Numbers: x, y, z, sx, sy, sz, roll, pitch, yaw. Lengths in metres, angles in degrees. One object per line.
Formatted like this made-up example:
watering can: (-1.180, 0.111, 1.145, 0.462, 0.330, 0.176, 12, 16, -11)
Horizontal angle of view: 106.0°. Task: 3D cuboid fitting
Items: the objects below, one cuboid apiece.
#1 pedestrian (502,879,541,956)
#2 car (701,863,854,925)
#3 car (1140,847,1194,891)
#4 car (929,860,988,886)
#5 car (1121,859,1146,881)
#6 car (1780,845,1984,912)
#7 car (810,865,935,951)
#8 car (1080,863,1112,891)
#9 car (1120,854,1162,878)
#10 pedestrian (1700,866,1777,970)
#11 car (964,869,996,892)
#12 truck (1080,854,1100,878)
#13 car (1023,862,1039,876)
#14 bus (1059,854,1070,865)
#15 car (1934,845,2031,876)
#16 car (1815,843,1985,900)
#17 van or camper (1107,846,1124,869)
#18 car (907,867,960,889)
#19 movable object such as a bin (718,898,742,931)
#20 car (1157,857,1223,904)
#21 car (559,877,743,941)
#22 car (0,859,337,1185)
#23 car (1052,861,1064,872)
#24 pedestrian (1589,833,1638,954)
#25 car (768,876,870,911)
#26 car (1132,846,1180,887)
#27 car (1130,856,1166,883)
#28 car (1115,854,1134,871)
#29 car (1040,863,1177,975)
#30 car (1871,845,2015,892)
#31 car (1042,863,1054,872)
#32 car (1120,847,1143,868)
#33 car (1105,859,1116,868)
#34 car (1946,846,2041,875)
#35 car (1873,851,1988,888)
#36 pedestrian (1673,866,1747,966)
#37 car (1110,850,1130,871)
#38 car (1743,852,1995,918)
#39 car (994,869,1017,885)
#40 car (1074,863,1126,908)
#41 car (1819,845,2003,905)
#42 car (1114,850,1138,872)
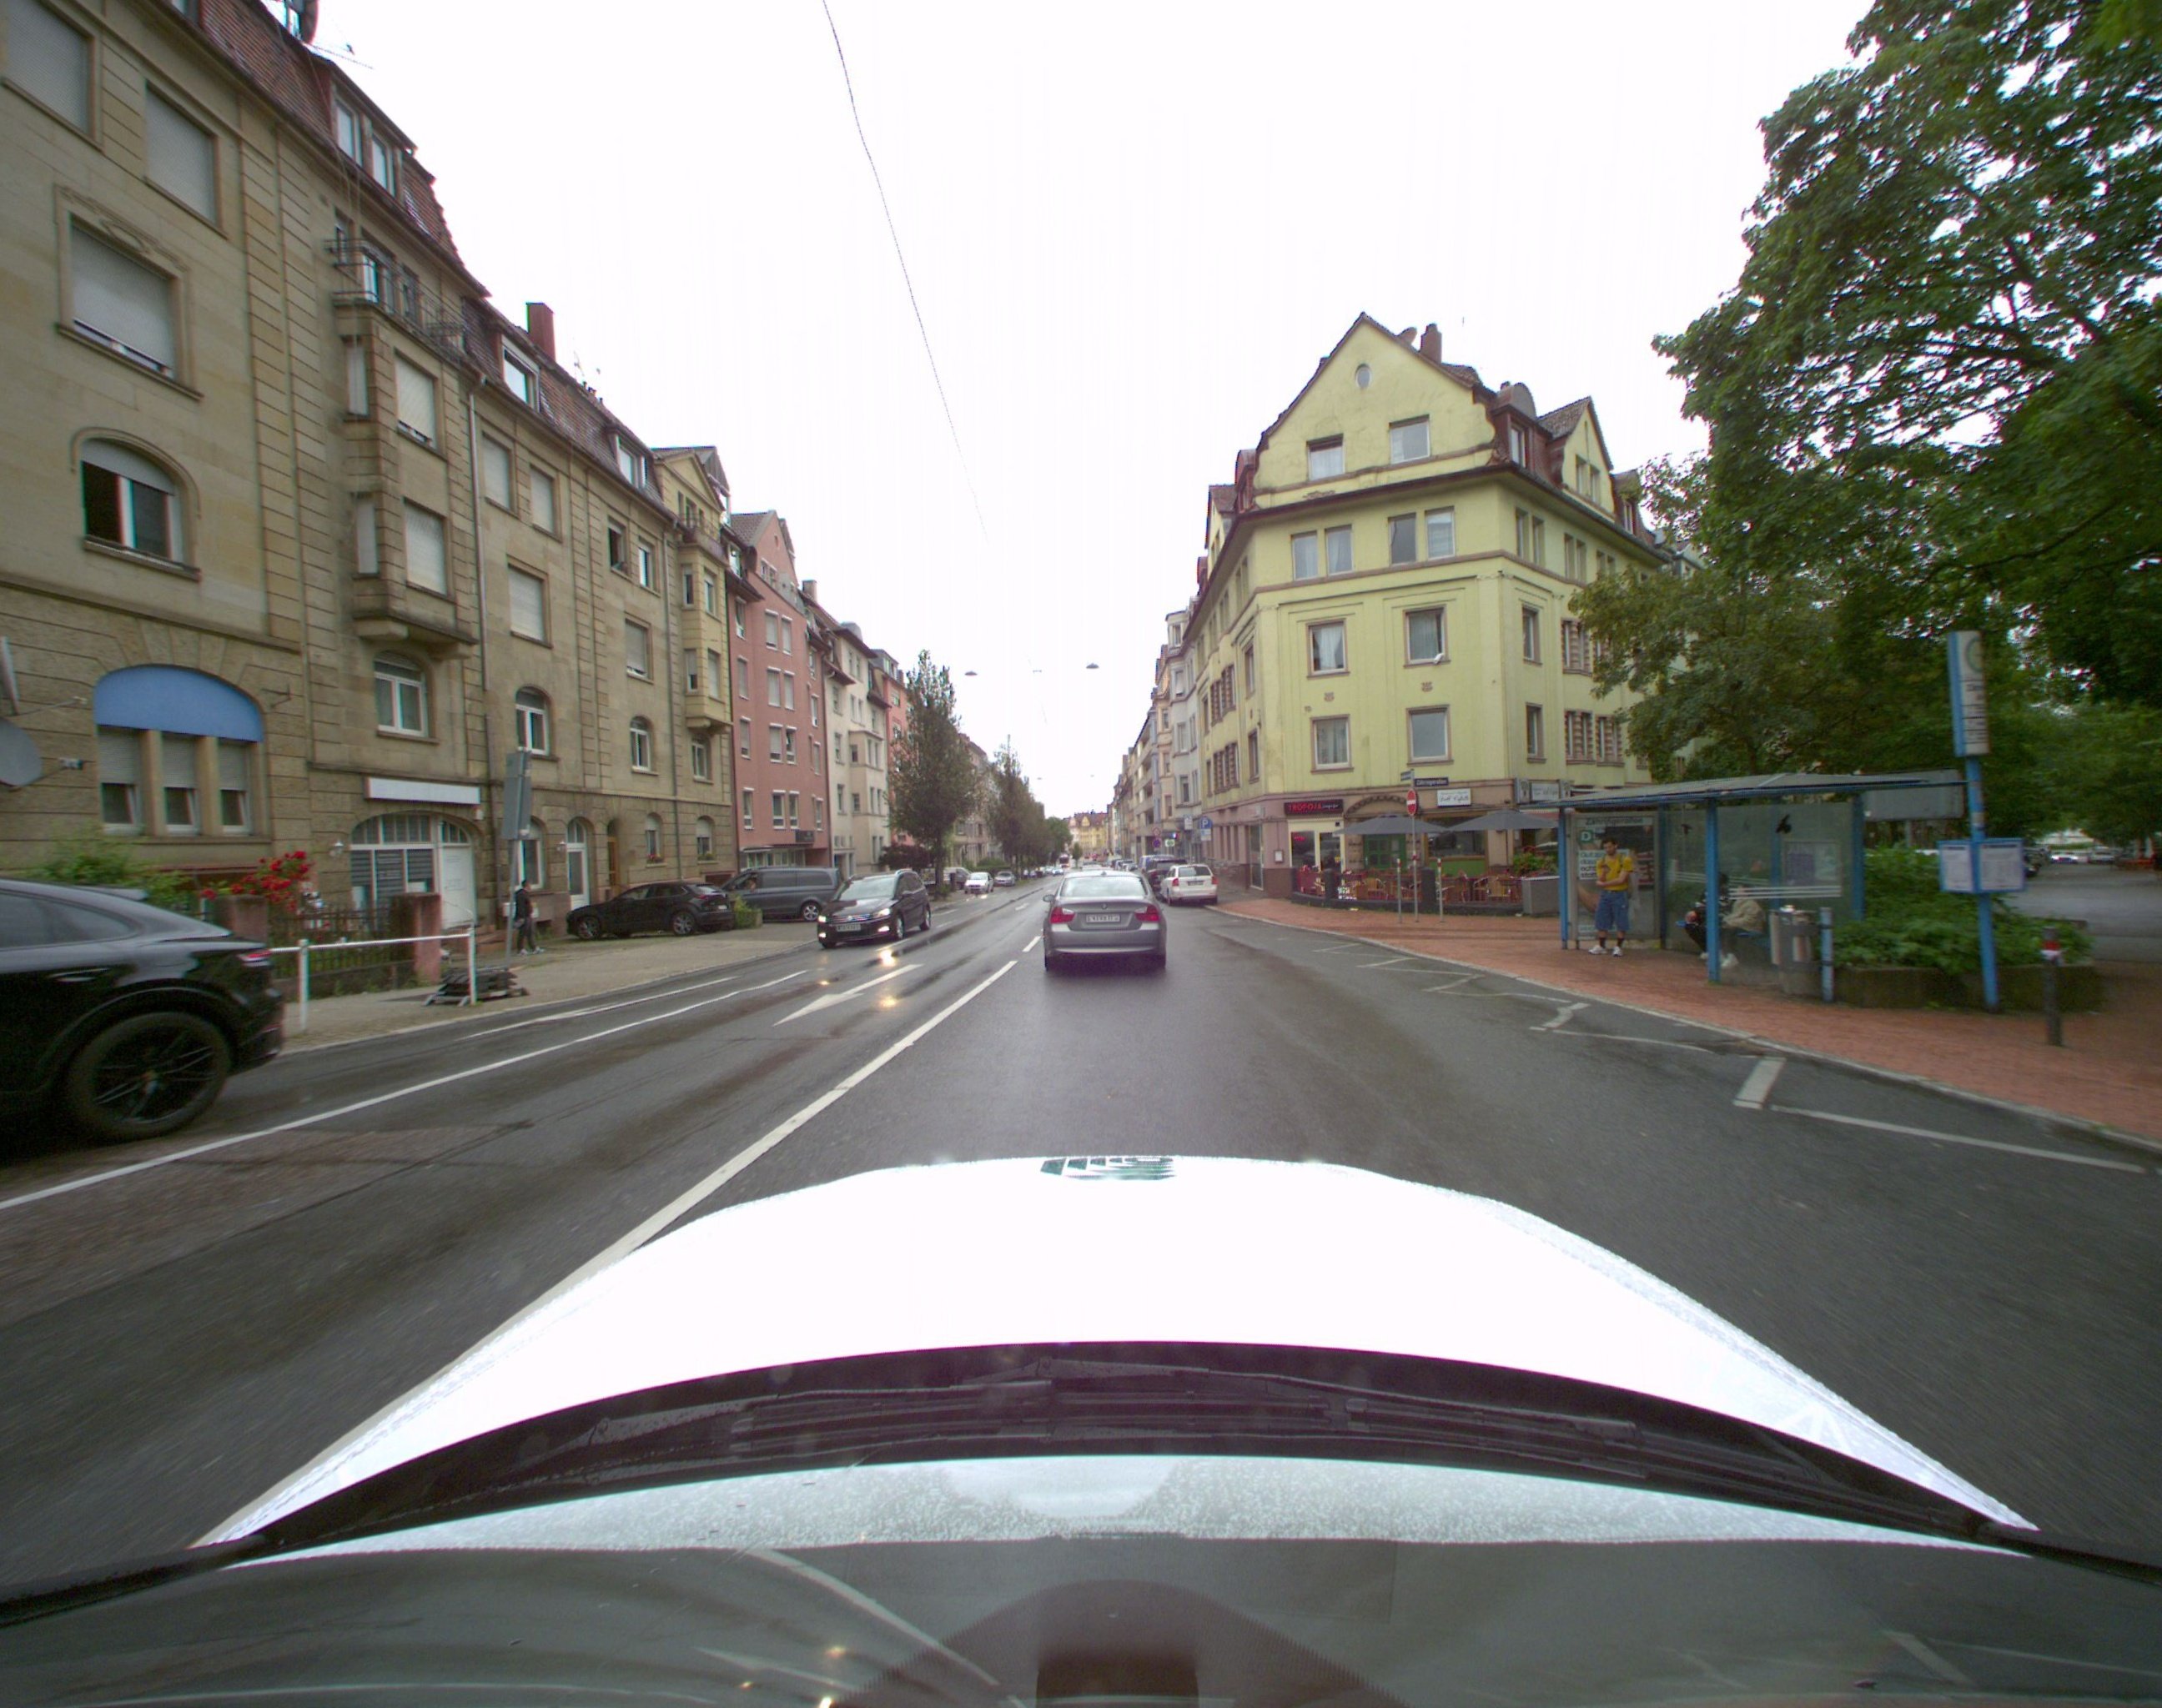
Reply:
pedestrian: (-13.236, 1.498, 19.262, 0.474, 1.777, 0.567, -1, 0, 9)
car: (-10.483, 1.343, 28.482, 4.674, 1.938, 1.857, -1, 0, -10)
car: (3.684, 0.623, 35.599, 1.872, 1.731, 4.677, -2, 0, 0)
car: (-10.955, 1.643, 72.842, 4.813, 1.974, 2.048, -4, 0, 0)
car: (3.842, 1.145, 59.847, 1.606, 1.474, 4.015, -2, 0, 0)
car: (22.651, 0.641, 23.149, 1.802, 1.727, 3.954, -1, 0, -39)
car: (-4.901, 1.195, 19.781, 1.615, 1.649, 4.421, -6, 0, 1)
car: (0.863, 1.278, 46.560, 1.691, 1.483, 3.794, -2, -1, 1)
car: (3.846, 0.779, 53.039, 1.872, 1.467, 4.765, -2, -1, -6)
pedestrian: (8.360, 0.800, 10.375, 0.565, 1.280, 0.536, -1, 0, 12)
car: (-7.215, 1.854, 58.352, 1.615, 1.445, 4.006, -3, 0, 1)
truck: (0.921, 1.257, 86.921, 2.025, 2.412, 4.826, -2, -1, 0)
car: (-6.572, 1.941, 106.518, 1.761, 1.593, 3.999, -5, 0, -1)
bus: (-4.696, 1.565, 235.859, 2.660, 3.024, 7.670, -4, 0, 1)
car: (54.588, 0.381, 49.358, 1.802, 1.748, 3.853, -1, 0, -39)
car: (28.033, 0.553, 27.970, 1.802, 1.789, 3.954, -1, 0, -39)
van or camper: (4.482, 0.406, 105.188, 2.024, 2.869, 6.893, 0, 0, 4)
car: (-11.663, 1.891, 64.595, 3.878, 1.457, 1.788, -4, 0, -7)
movable object such as a bin: (-10.777, 1.853, 24.994, 0.502, 0.950, 0.441, -1, 0, 5)
car: (3.958, 0.904, 30.237, 1.793, 1.565, 4.491, -1, 0, -1)
car: (-12.112, 1.534, 23.131, 4.133, 1.510, 1.873, -2, 0, 0)
car: (-6.731, 0.904, 3.638, 1.953, 1.693, 4.819, -2, -1, 9)
car: (-3.722, 1.983, 132.142, 1.630, 1.508, 3.754, -6, 0, 0)
pedestrian: (8.003, 0.580, 12.261, 0.553, 1.775, 0.549, -1, 0, 29)
car: (-13.324, 2.007, 41.660, 4.533, 1.401, 1.767, -4, 0, 0)
car: (3.777, 0.610, 41.606, 1.913, 1.827, 5.009, -4, 0, 0)
car: (3.770, 0.854, 46.332, 1.672, 1.375, 4.276, -2, 0, 0)
car: (4.481, 0.862, 84.965, 1.720, 1.670, 4.288, -4, 0, 0)
car: (0.331, 0.897, 12.609, 1.764, 1.428, 3.738, -1, -1, -1)
car: (34.493, 0.534, 32.666, 1.802, 1.748, 3.853, -1, 0, -39)
car: (-6.035, 2.488, 148.811, 1.684, 1.523, 3.738, -5, 0, 2)
car: (4.549, 0.342, 73.245, 1.720, 1.670, 4.288, -5, 0, 0)
car: (5.115, 1.730, 143.037, 1.692, 1.483, 3.974, -2, -1, 0)
car: (56.975, 0.398, 50.894, 1.802, 1.748, 3.853, -1, 0, -39)
car: (42.431, 0.740, 40.736, 1.802, 1.748, 3.853, -1, 0, -39)
pedestrian: (8.456, 0.817, 10.975, 0.565, 1.280, 0.621, -1, 0, 13)
car: (4.494, 0.748, 94.747, 1.975, 2.165, 4.750, -4, 0, 0)
car: (20.672, 0.755, 21.561, 1.802, 1.528, 4.594, -1, 0, -39)
car: (-7.197, 2.182, 78.032, 1.720, 1.484, 3.990, -1, -1, 1)
car: (0.683, 1.054, 28.439, 1.675, 1.428, 3.742, -2, -1, 2)
car: (26.382, 0.629, 26.003, 1.802, 1.727, 3.954, -1, 0, -39)
car: (4.391, 0.657, 80.041, 1.975, 2.007, 4.625, -4, 0, 0)
